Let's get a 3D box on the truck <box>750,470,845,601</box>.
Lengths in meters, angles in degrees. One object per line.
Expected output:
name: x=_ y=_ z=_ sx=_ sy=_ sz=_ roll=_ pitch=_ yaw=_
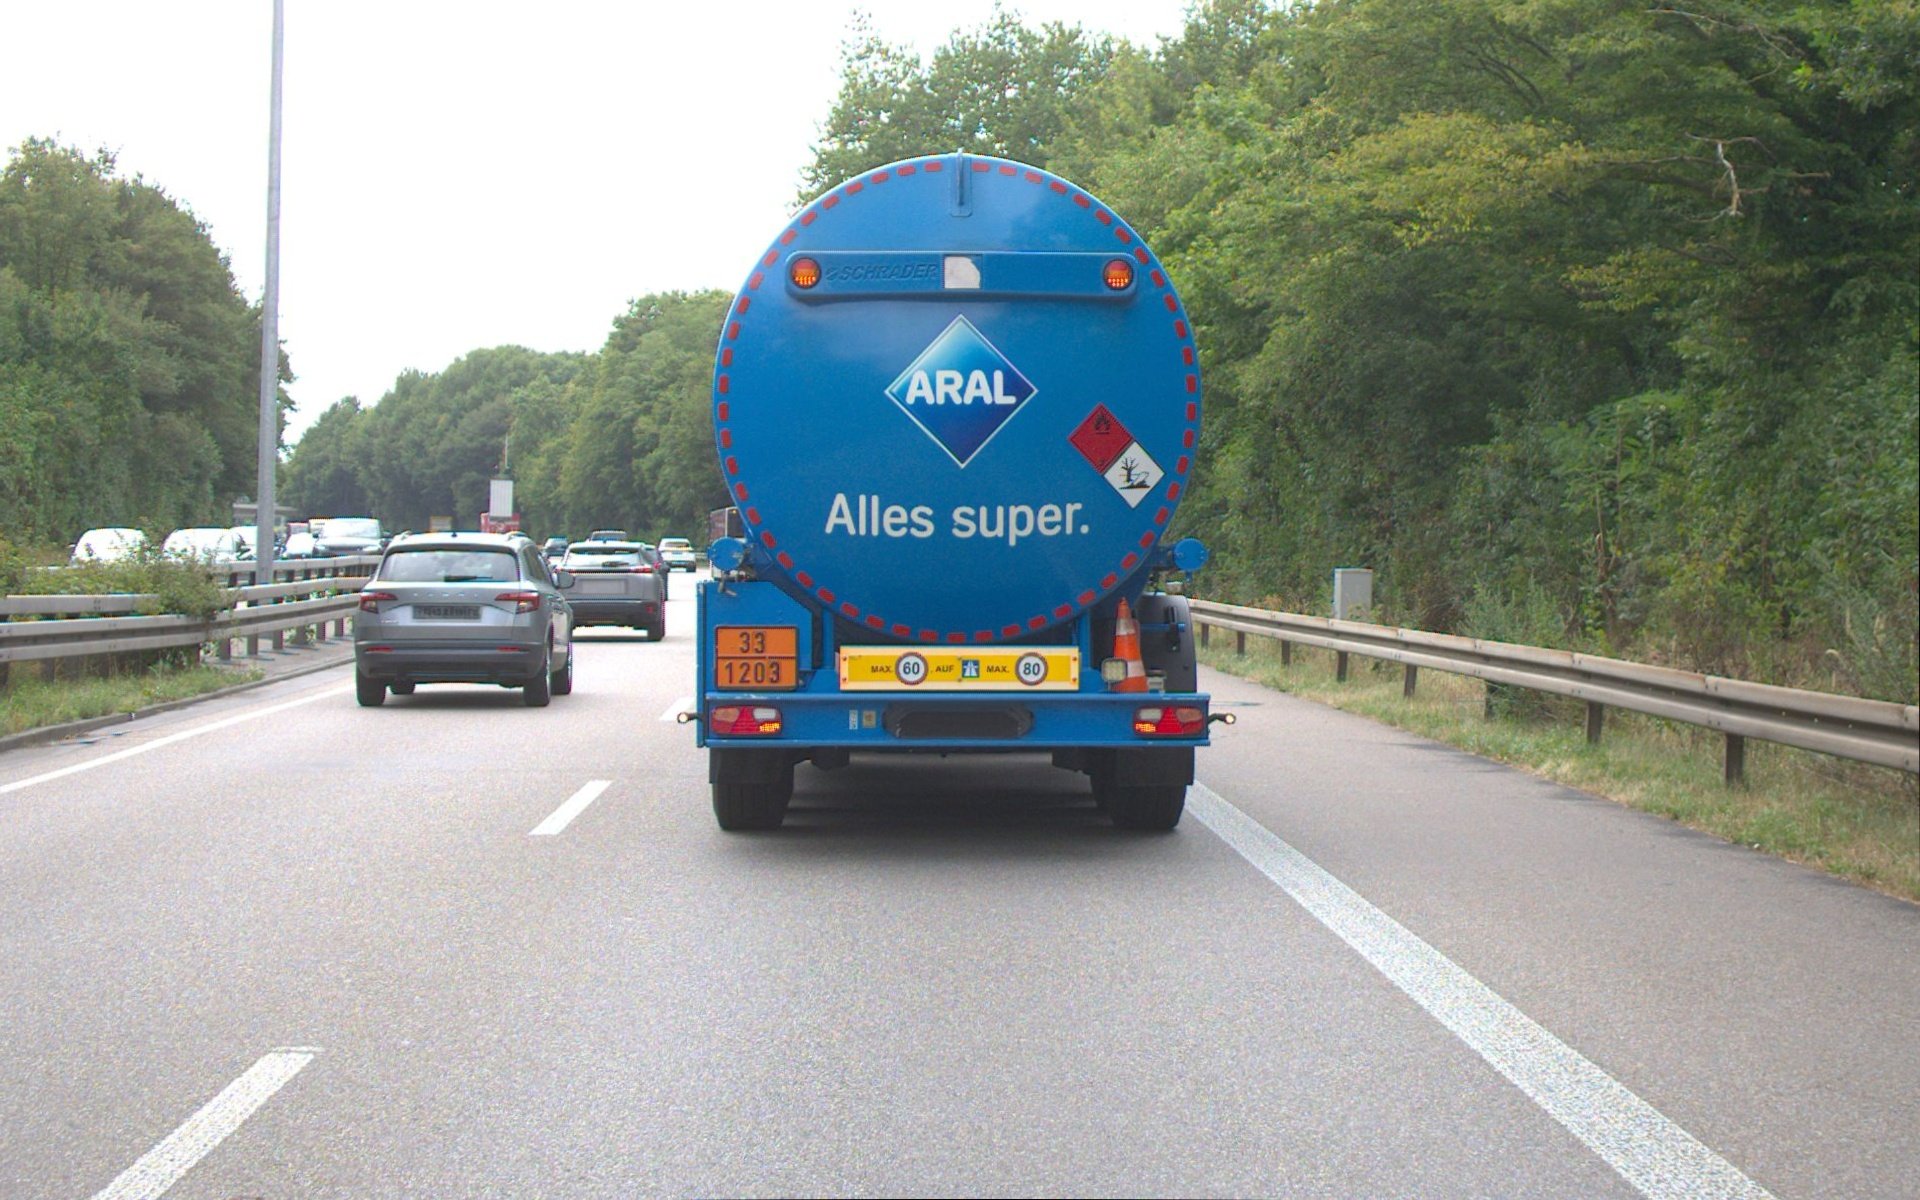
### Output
truck: x=-4.059 y=-1.541 z=84.761 sx=1.993 sy=3.082 sz=7.816 roll=0 pitch=0 yaw=-5

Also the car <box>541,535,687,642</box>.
car: x=-5.390 y=-0.188 z=53.929 sx=1.826 sy=1.604 sz=4.167 roll=0 pitch=0 yaw=1

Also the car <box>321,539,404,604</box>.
car: x=-17.111 y=-0.812 z=98.628 sx=1.791 sy=1.830 sz=4.957 roll=0 pitch=0 yaw=-4

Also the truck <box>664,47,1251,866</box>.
truck: x=-0.203 y=-0.701 z=20.001 sx=2.755 sy=3.833 sz=7.689 roll=0 pitch=0 yaw=-3

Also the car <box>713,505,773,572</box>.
car: x=-7.472 y=-2.099 z=118.038 sx=1.993 sy=2.237 sz=4.001 roll=0 pitch=0 yaw=-4

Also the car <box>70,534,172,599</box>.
car: x=-19.782 y=-0.788 z=81.141 sx=1.628 sy=1.503 sz=3.728 roll=0 pitch=0 yaw=-2

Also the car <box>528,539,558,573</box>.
car: x=-28.362 y=-2.982 z=233.696 sx=1.993 sy=2.237 sz=4.001 roll=0 pitch=0 yaw=-6

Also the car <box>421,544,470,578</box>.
car: x=-21.490 y=-1.624 z=143.689 sx=1.711 sy=1.422 sz=4.057 roll=0 pitch=0 yaw=-4

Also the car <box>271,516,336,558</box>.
car: x=-23.562 y=-2.260 z=123.563 sx=1.811 sy=1.445 sz=4.057 roll=0 pitch=0 yaw=-4

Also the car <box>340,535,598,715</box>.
car: x=-4.610 y=0.205 z=32.839 sx=1.826 sy=1.604 sz=4.167 roll=0 pitch=0 yaw=1

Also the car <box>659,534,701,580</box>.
car: x=-13.738 y=-2.103 z=168.886 sx=1.993 sy=2.237 sz=4.001 roll=0 pitch=0 yaw=-4
